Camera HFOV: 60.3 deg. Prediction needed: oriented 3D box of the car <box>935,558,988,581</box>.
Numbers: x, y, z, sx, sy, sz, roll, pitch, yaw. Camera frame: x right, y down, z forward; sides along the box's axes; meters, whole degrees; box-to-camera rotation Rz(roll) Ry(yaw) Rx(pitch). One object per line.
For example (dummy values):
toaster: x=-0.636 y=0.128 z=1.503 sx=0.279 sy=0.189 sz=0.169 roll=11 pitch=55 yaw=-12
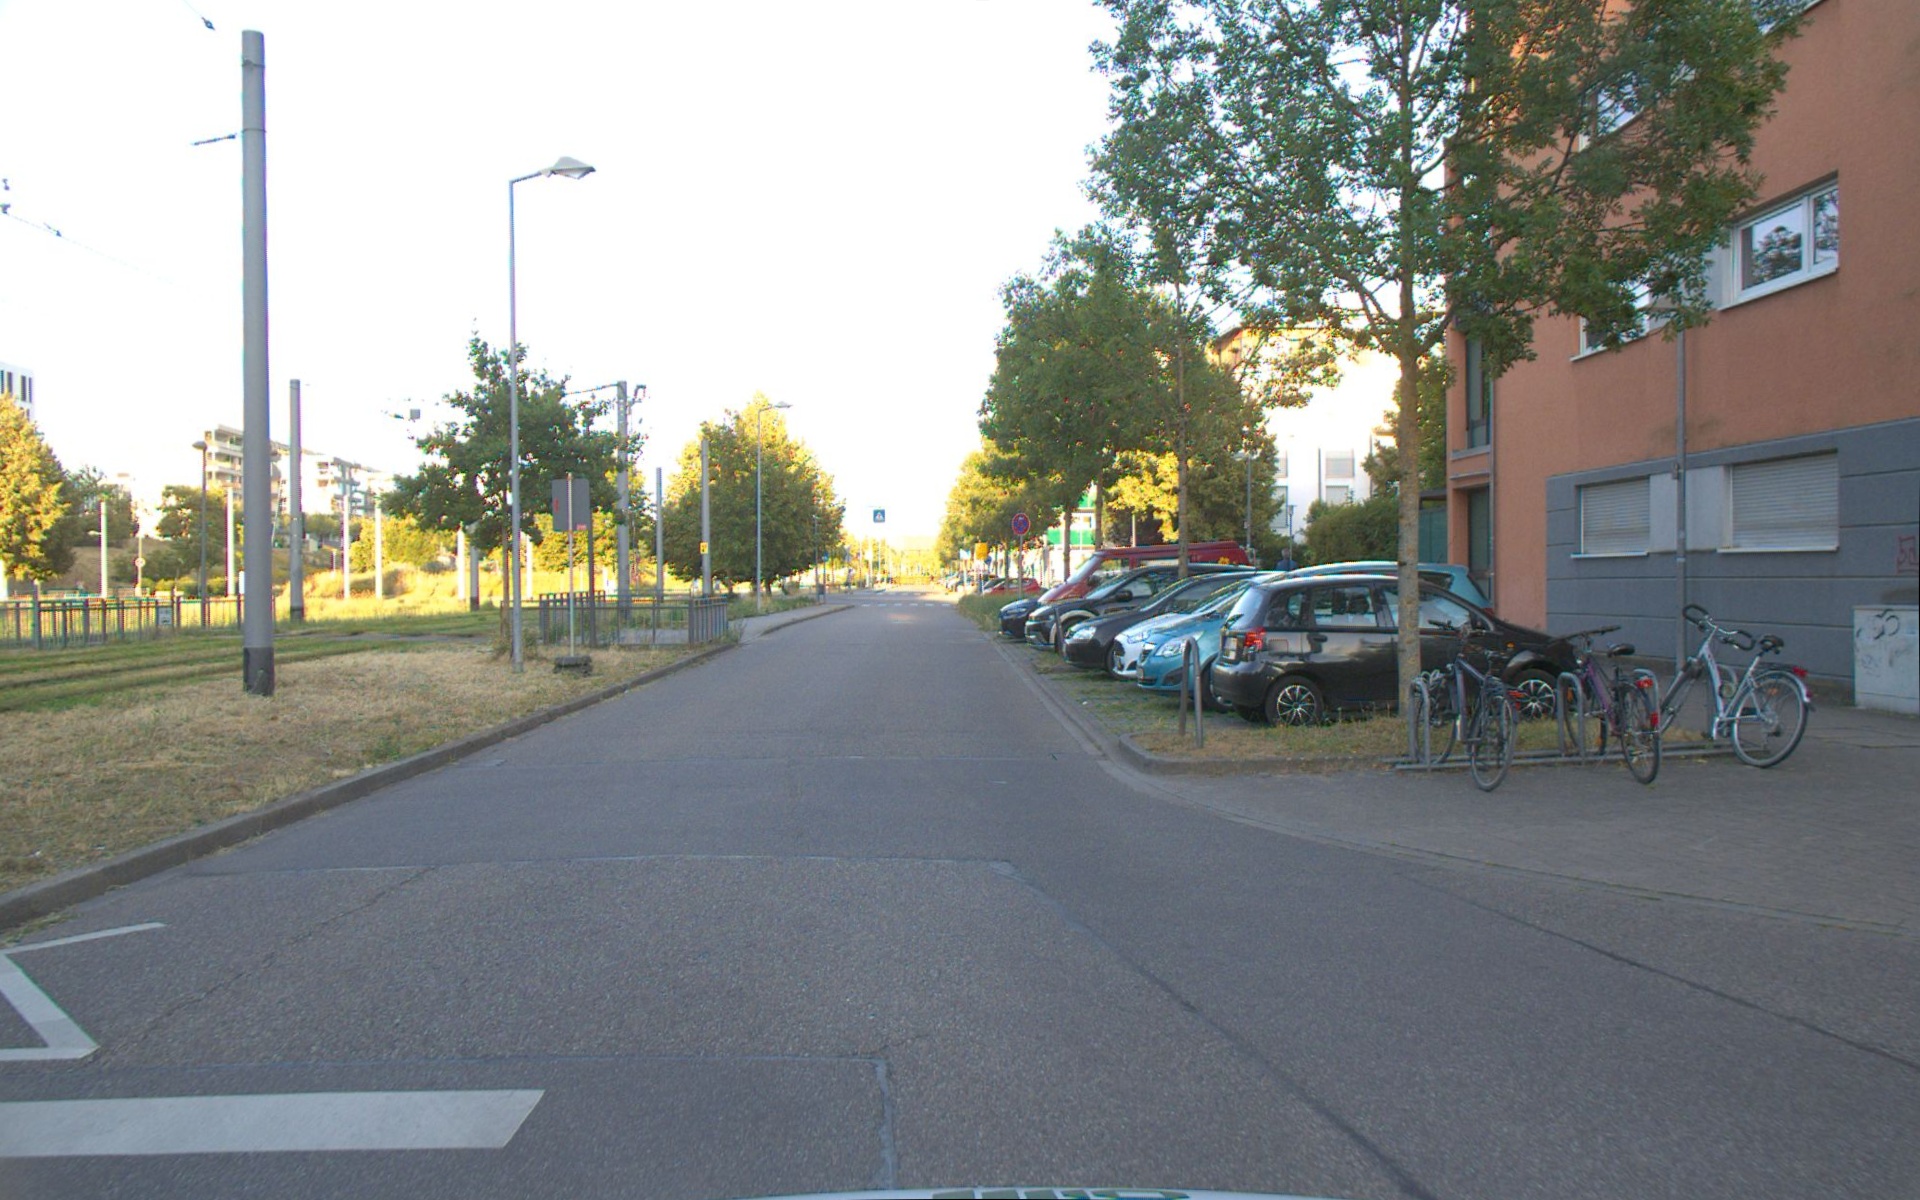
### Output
car: x=0.117 y=-2.983 z=161.453 sx=4.906 sy=2.081 sz=2.248 roll=-1 pitch=1 yaw=-6

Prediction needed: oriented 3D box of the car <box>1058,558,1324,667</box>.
car: x=3.365 y=0.190 z=24.486 sx=3.697 sy=1.522 sz=1.538 roll=0 pitch=-1 yaw=-2

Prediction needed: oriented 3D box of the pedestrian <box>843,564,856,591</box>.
pedestrian: x=-8.541 y=-1.749 z=127.598 sx=0.828 sy=2.049 sz=0.944 roll=-1 pitch=1 yaw=4

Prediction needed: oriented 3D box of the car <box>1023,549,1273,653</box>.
car: x=3.244 y=-0.006 z=29.150 sx=4.130 sy=1.596 sz=1.792 roll=-3 pitch=1 yaw=-1

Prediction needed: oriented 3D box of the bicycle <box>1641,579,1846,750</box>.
bicycle: x=5.971 y=0.450 z=12.733 sx=0.518 sy=1.146 sz=1.962 roll=1 pitch=3 yaw=-3

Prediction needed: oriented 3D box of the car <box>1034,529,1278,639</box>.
car: x=3.993 y=-0.352 z=34.285 sx=4.819 sy=2.154 sz=2.017 roll=-1 pitch=1 yaw=0

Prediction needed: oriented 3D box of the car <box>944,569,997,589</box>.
car: x=0.897 y=-1.742 z=138.364 sx=4.393 sy=1.624 sz=2.000 roll=-1 pitch=1 yaw=0

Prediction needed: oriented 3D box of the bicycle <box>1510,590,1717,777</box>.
bicycle: x=4.804 y=0.569 z=12.309 sx=0.665 sy=1.172 sz=1.927 roll=-3 pitch=3 yaw=-3

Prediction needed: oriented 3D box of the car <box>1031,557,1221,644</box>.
car: x=3.181 y=-0.003 z=32.129 sx=3.454 sy=1.490 sz=1.615 roll=-3 pitch=1 yaw=-1

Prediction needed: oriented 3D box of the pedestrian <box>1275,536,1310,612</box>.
pedestrian: x=7.796 y=-0.616 z=38.820 sx=0.655 sy=1.773 sz=0.699 roll=-1 pitch=1 yaw=-2

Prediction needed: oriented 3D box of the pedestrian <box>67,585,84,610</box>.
pedestrian: x=-63.852 y=-0.202 z=119.421 sx=0.770 sy=1.817 sz=0.814 roll=-1 pitch=1 yaw=2

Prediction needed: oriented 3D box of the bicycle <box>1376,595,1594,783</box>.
bicycle: x=3.864 y=0.612 z=12.346 sx=0.704 sy=1.172 sz=1.893 roll=-2 pitch=3 yaw=-12

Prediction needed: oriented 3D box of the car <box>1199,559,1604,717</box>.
car: x=4.426 y=0.345 z=16.863 sx=3.677 sy=1.499 sz=1.611 roll=0 pitch=1 yaw=-6

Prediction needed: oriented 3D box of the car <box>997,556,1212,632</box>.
car: x=3.164 y=-0.147 z=36.830 sx=4.575 sy=1.583 sz=1.811 roll=-1 pitch=1 yaw=-2

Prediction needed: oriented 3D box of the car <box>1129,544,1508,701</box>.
car: x=4.061 y=0.231 z=19.133 sx=3.968 sy=1.596 sz=1.672 roll=-2 pitch=1 yaw=-2

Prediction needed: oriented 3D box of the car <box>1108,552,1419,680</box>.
car: x=3.944 y=0.182 z=21.867 sx=3.798 sy=1.596 sz=1.620 roll=0 pitch=1 yaw=-2

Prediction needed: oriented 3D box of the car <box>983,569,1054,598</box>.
car: x=3.182 y=-0.906 z=90.665 sx=3.727 sy=1.535 sz=1.678 roll=-1 pitch=1 yaw=-4

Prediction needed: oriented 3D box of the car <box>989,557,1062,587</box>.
car: x=3.494 y=-1.507 z=88.042 sx=3.727 sy=1.535 sz=1.678 roll=-1 pitch=1 yaw=-4
